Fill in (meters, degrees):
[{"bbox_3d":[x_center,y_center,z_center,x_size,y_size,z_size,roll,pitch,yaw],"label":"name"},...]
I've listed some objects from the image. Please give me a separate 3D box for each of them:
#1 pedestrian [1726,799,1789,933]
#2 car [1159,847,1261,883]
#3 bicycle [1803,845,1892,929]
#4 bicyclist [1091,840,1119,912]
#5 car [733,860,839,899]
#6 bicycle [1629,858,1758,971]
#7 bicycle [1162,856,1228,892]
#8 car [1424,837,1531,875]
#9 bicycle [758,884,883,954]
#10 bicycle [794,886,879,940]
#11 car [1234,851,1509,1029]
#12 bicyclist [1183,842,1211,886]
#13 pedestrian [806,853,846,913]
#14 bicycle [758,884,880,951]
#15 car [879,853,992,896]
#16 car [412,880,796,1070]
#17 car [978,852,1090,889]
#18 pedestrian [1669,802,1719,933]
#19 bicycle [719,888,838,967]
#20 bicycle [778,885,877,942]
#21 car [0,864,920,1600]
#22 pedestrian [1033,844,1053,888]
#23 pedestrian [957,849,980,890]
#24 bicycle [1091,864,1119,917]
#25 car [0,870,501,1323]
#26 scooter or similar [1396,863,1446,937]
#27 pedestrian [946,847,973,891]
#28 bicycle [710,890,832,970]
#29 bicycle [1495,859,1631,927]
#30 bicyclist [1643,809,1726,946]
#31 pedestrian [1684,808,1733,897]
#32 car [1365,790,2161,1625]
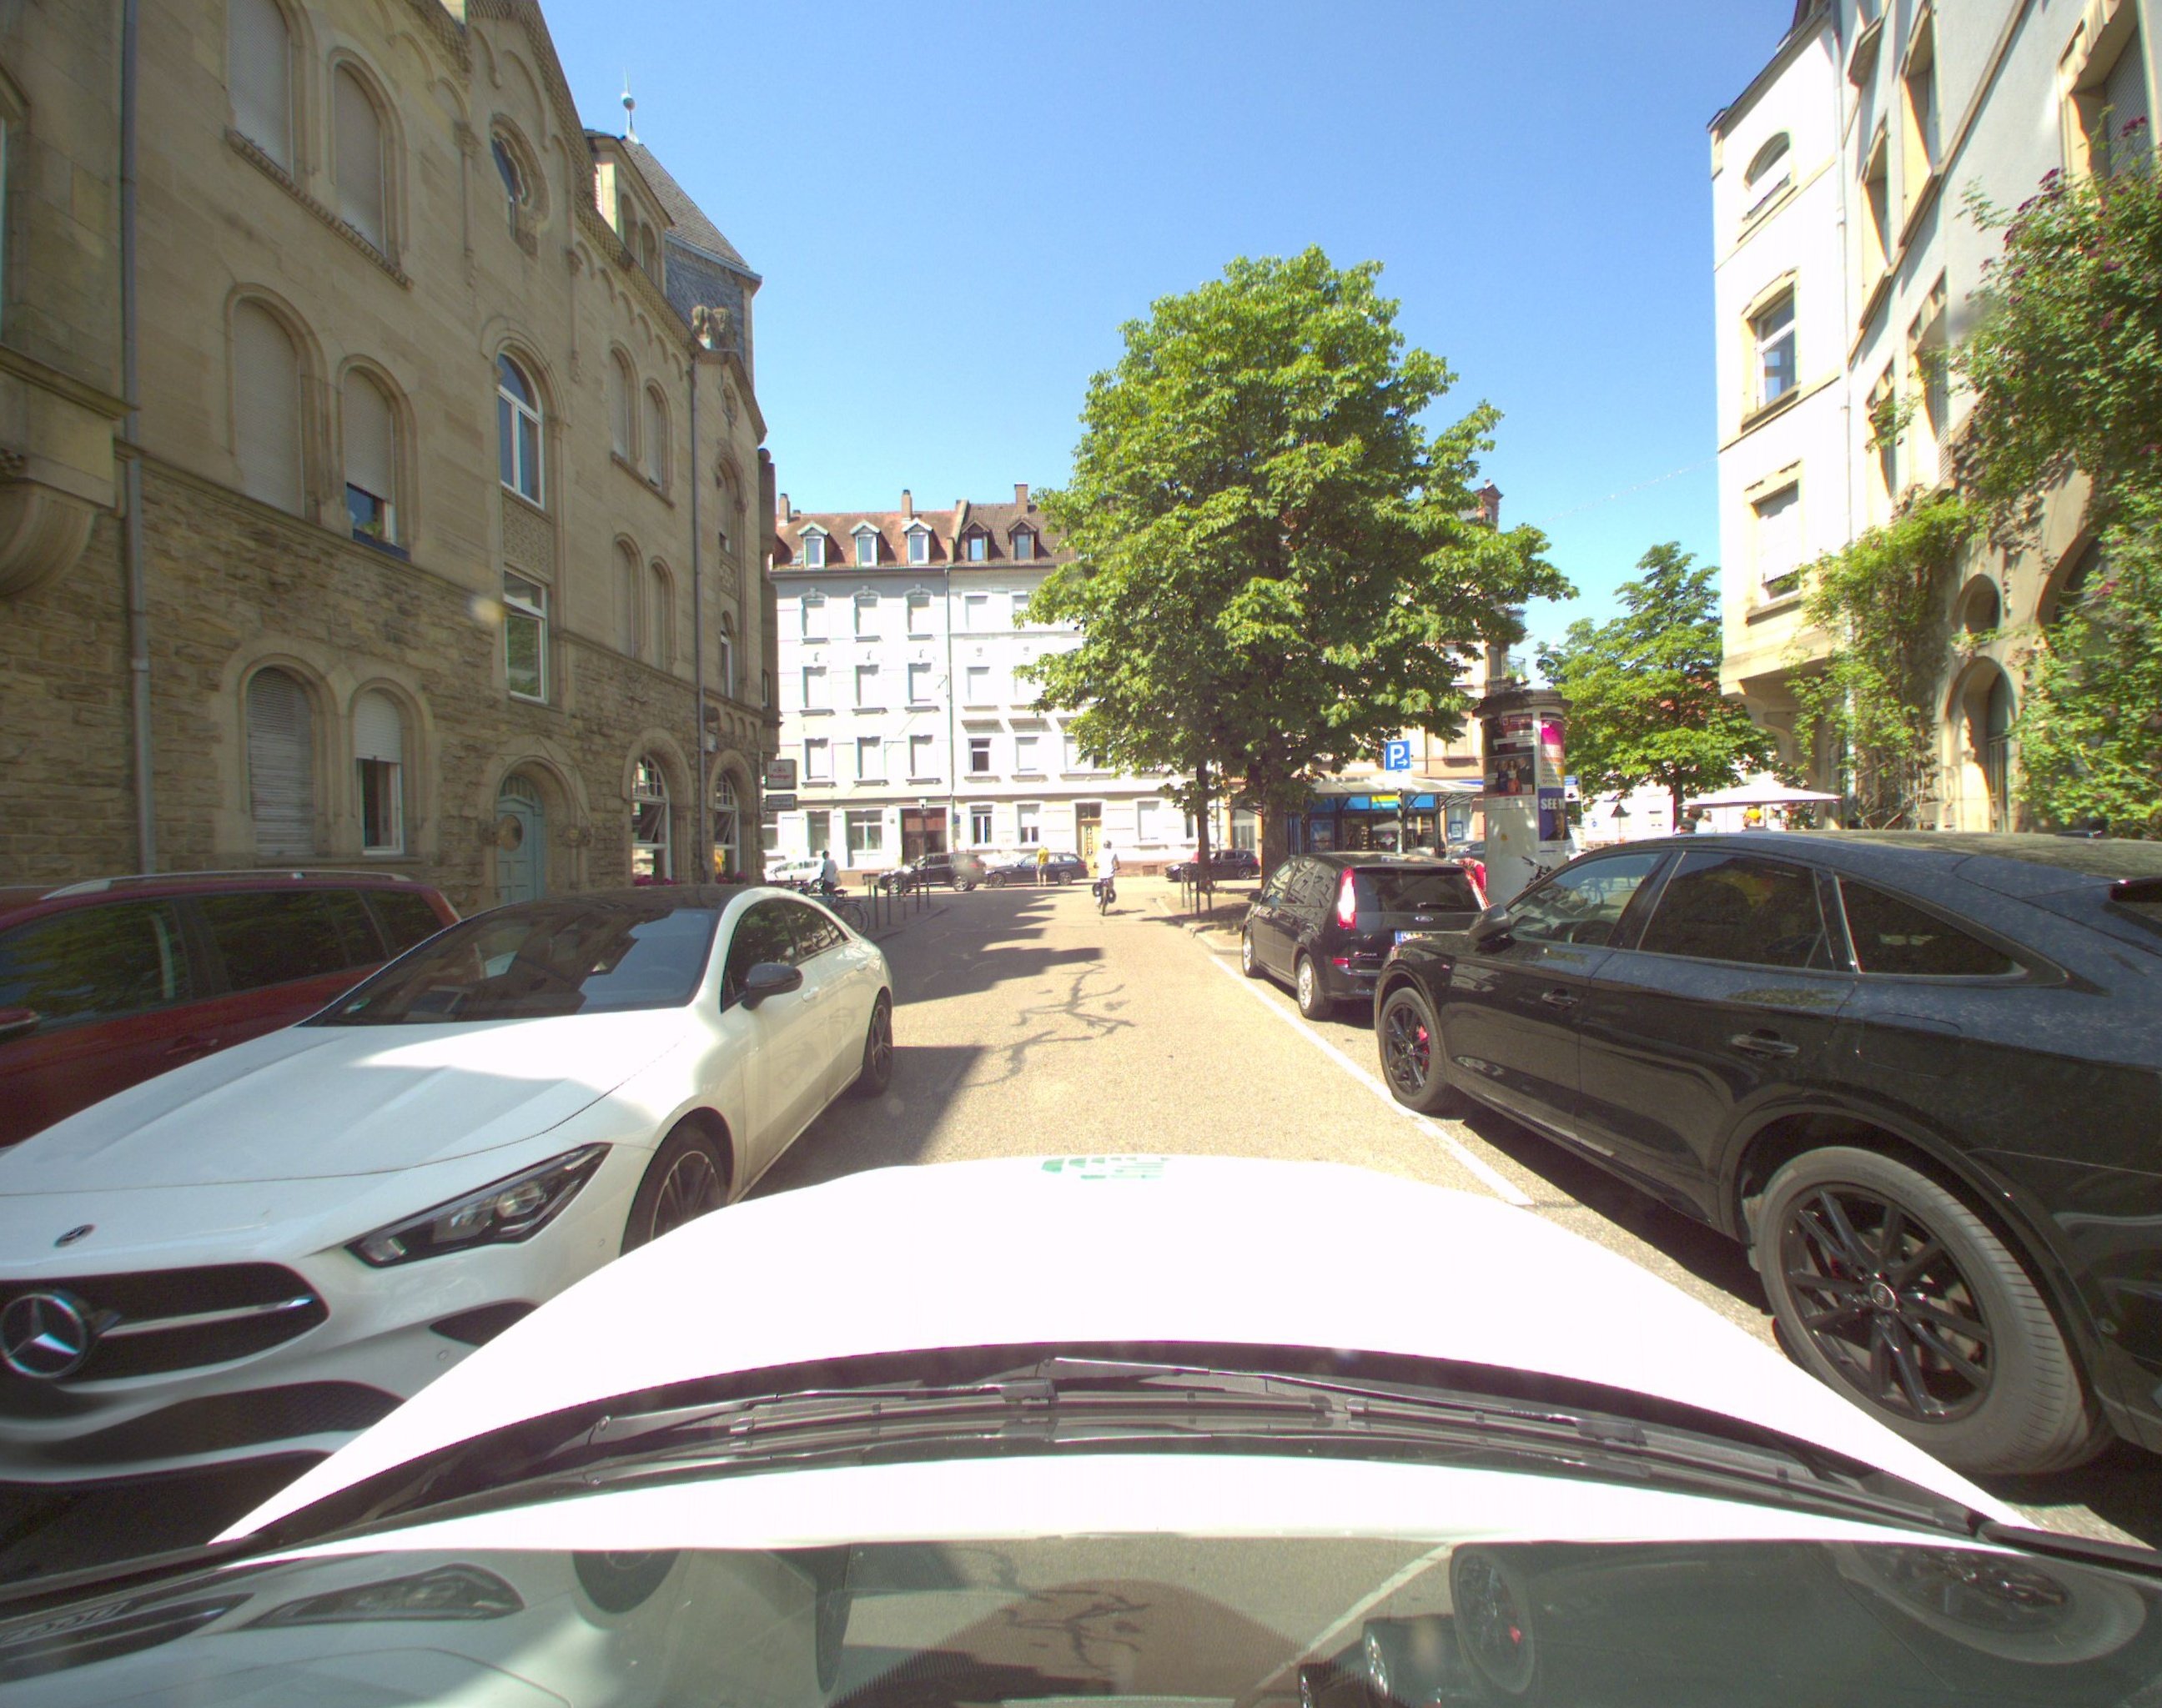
[{"bbox_3d":[9.972,0.168,12.000,0.594,1.880,0.888,-2,-1,45],"label":"pedestrian"},{"bbox_3d":[5.766,0.484,36.811,4.280,1.370,1.807,-2,2,0],"label":"car"},{"bbox_3d":[10.566,0.422,11.276,0.542,1.039,1.849,-3,0,33],"label":"bicycle"},{"bbox_3d":[0.595,0.543,20.317,0.668,1.760,0.609,0,0,1],"label":"bicyclist"},{"bbox_3d":[-13.210,1.122,36.675,4.035,1.562,1.806,-2,0,-2],"label":"car"},{"bbox_3d":[7.504,0.667,10.116,0.786,1.169,2.594,-2,0,27],"label":"bicycle"},{"bbox_3d":[4.005,0.684,28.620,2.449,1.209,0.647,0,0,-32],"label":"bicycle"},{"bbox_3d":[17.932,0.078,36.946,3.975,1.506,1.778,-2,0,-1],"label":"car"},{"bbox_3d":[-4.427,1.110,13.905,1.968,1.129,0.394,1,-1,-4],"label":"bicycle"},{"bbox_3d":[-4.704,1.136,15.708,1.522,1.008,0.366,1,-1,-4],"label":"bicycle"},{"bbox_3d":[2.919,0.749,9.163,1.657,1.540,4.178,0,0,1],"label":"car"},{"bbox_3d":[4.078,0.356,28.669,0.611,1.533,0.666,-2,0,-32],"label":"bicyclist"},{"bbox_3d":[-7.405,0.828,23.685,0.854,1.672,0.774,-2,0,0],"label":"pedestrian"},{"bbox_3d":[-4.597,1.106,14.335,1.991,1.129,0.435,0,-1,-4],"label":"bicycle"},{"bbox_3d":[-5.838,0.798,33.041,4.210,1.519,1.807,-2,0,0],"label":"car"},{"bbox_3d":[-4.810,1.090,9.138,1.697,1.352,4.511,-4,0,-2],"label":"car"},{"bbox_3d":[-2.029,0.720,36.605,4.844,1.437,2.000,-2,0,-1],"label":"car"},{"bbox_3d":[9.097,0.195,12.089,0.513,1.869,0.658,-2,-1,39],"label":"pedestrian"},{"bbox_3d":[-4.843,1.166,13.067,1.699,1.100,0.292,-4,0,-4],"label":"bicycle"},{"bbox_3d":[-4.737,1.111,15.270,1.701,1.045,0.413,0,-1,-4],"label":"bicycle"},{"bbox_3d":[-2.184,0.862,3.932,1.835,1.461,4.362,-4,0,0],"label":"car"},{"bbox_3d":[-1.666,0.515,35.270,0.724,1.853,0.682,-2,0,-10],"label":"pedestrian"},{"bbox_3d":[-5.085,0.692,36.875,0.899,1.814,0.959,-2,0,-5],"label":"pedestrian"},{"bbox_3d":[0.595,0.870,20.534,0.649,1.228,2.442,0,0,1],"label":"bicycle"},{"bbox_3d":[-4.770,0.950,3.467,1.668,1.583,4.050,-4,0,-1],"label":"car"},{"bbox_3d":[5.639,0.746,13.480,0.437,1.136,1.193,-3,0,37],"label":"scooter or similar"},{"bbox_3d":[-5.316,0.663,35.755,0.844,1.889,0.938,-2,0,11],"label":"pedestrian"},{"bbox_3d":[-4.838,1.179,12.739,1.699,1.100,0.292,-4,0,-4],"label":"bicycle"},{"bbox_3d":[8.158,0.649,13.835,1.893,1.039,0.634,-2,0,0],"label":"bicycle"},{"bbox_3d":[7.538,0.288,10.199,0.671,1.647,0.666,-2,0,26],"label":"bicyclist"},{"bbox_3d":[12.977,-0.029,16.838,0.753,1.794,0.576,-2,-1,-38],"label":"pedestrian"},{"bbox_3d":[2.886,0.680,3.491,1.731,1.597,4.345,0,0,-2],"label":"car"}]
